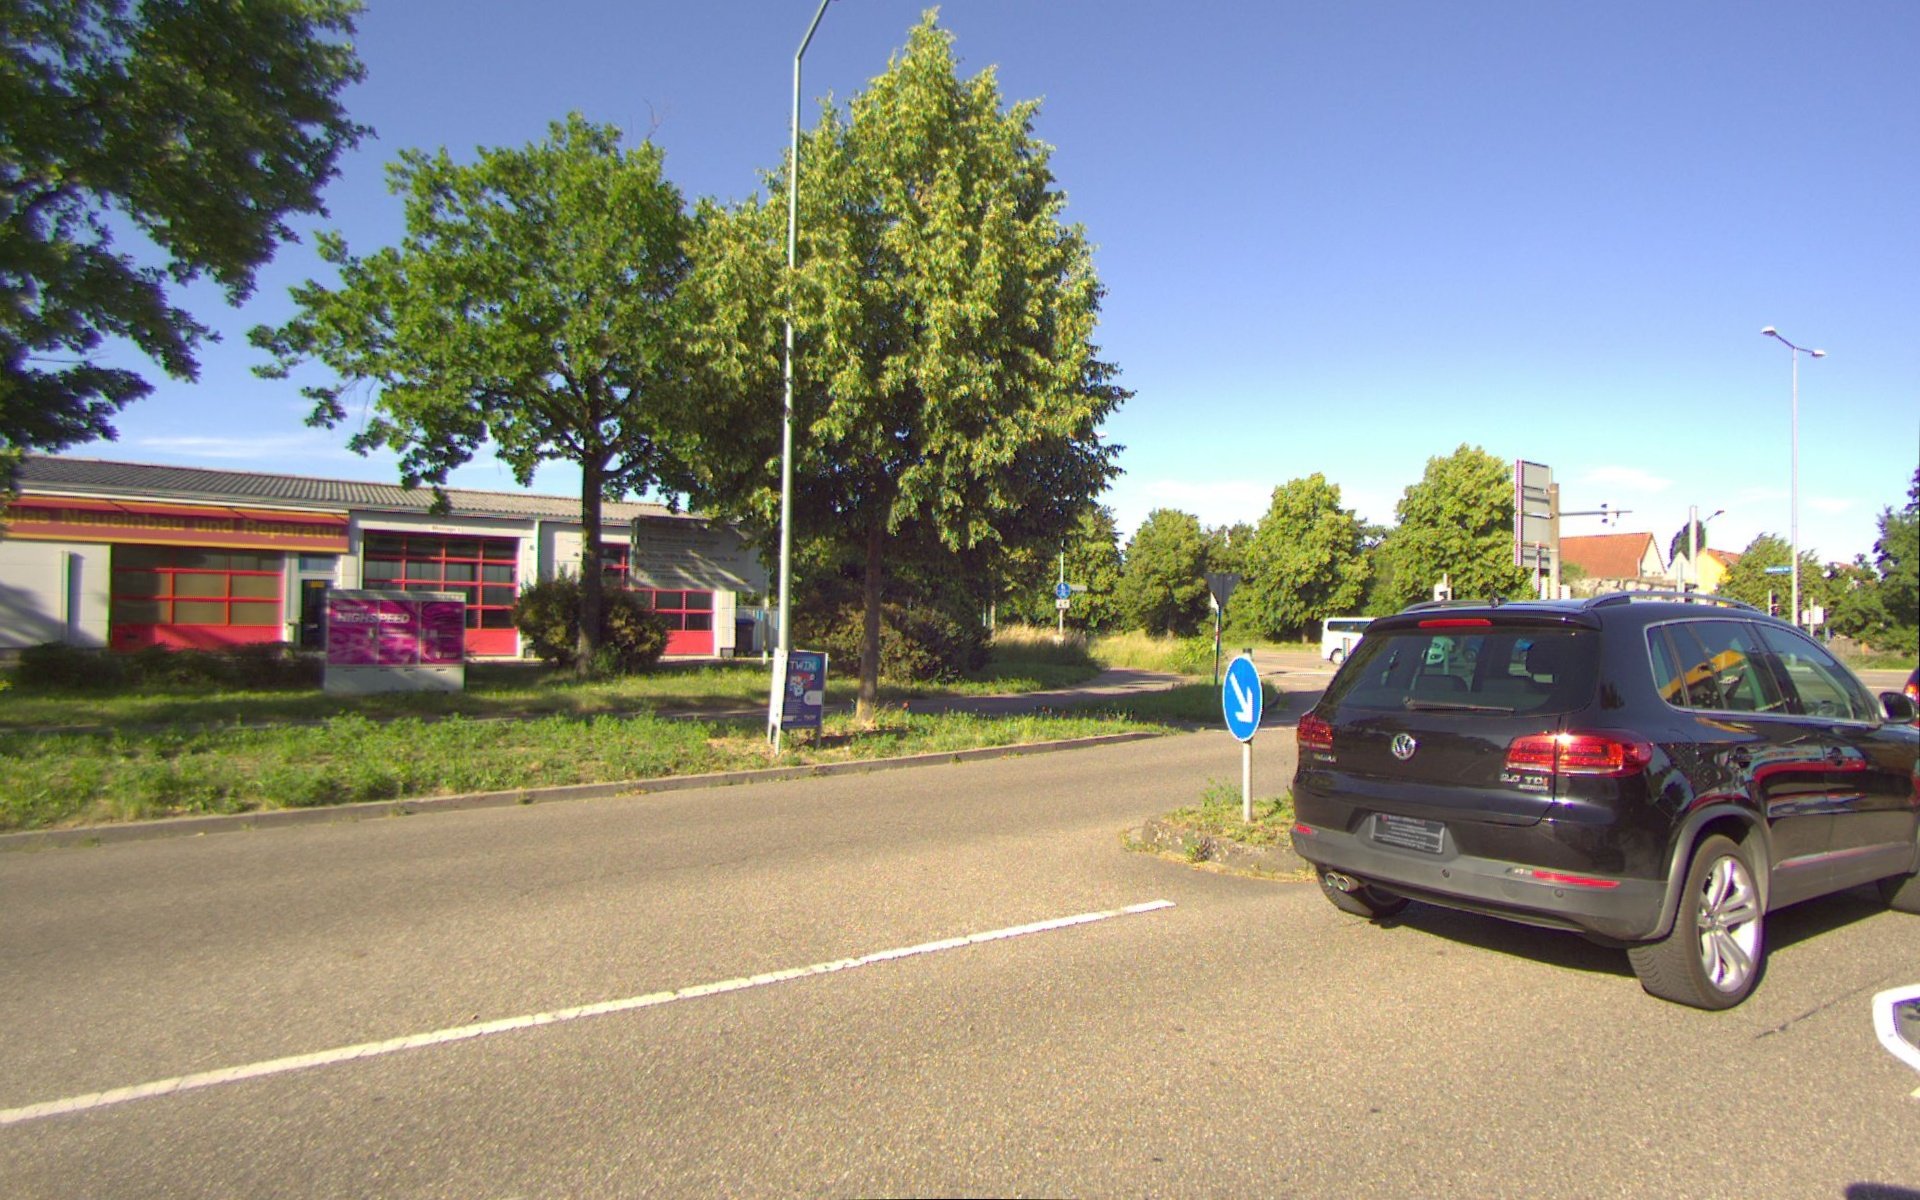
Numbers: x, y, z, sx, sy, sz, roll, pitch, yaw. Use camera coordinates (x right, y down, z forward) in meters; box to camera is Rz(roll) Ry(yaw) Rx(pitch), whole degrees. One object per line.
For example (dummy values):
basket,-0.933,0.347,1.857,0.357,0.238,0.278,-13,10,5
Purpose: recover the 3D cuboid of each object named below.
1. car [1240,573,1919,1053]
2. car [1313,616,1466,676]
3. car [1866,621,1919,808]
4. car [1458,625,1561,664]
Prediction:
car,3.553,0.821,5.315,3.954,1.675,1.763,1,-3,-31
car,17.241,1.796,40.602,2.160,2.146,5.350,2,-1,-35
car,10.231,1.006,9.216,3.954,1.610,1.753,1,-3,-31
car,23.758,1.905,43.497,1.733,1.581,3.559,2,-2,-35
